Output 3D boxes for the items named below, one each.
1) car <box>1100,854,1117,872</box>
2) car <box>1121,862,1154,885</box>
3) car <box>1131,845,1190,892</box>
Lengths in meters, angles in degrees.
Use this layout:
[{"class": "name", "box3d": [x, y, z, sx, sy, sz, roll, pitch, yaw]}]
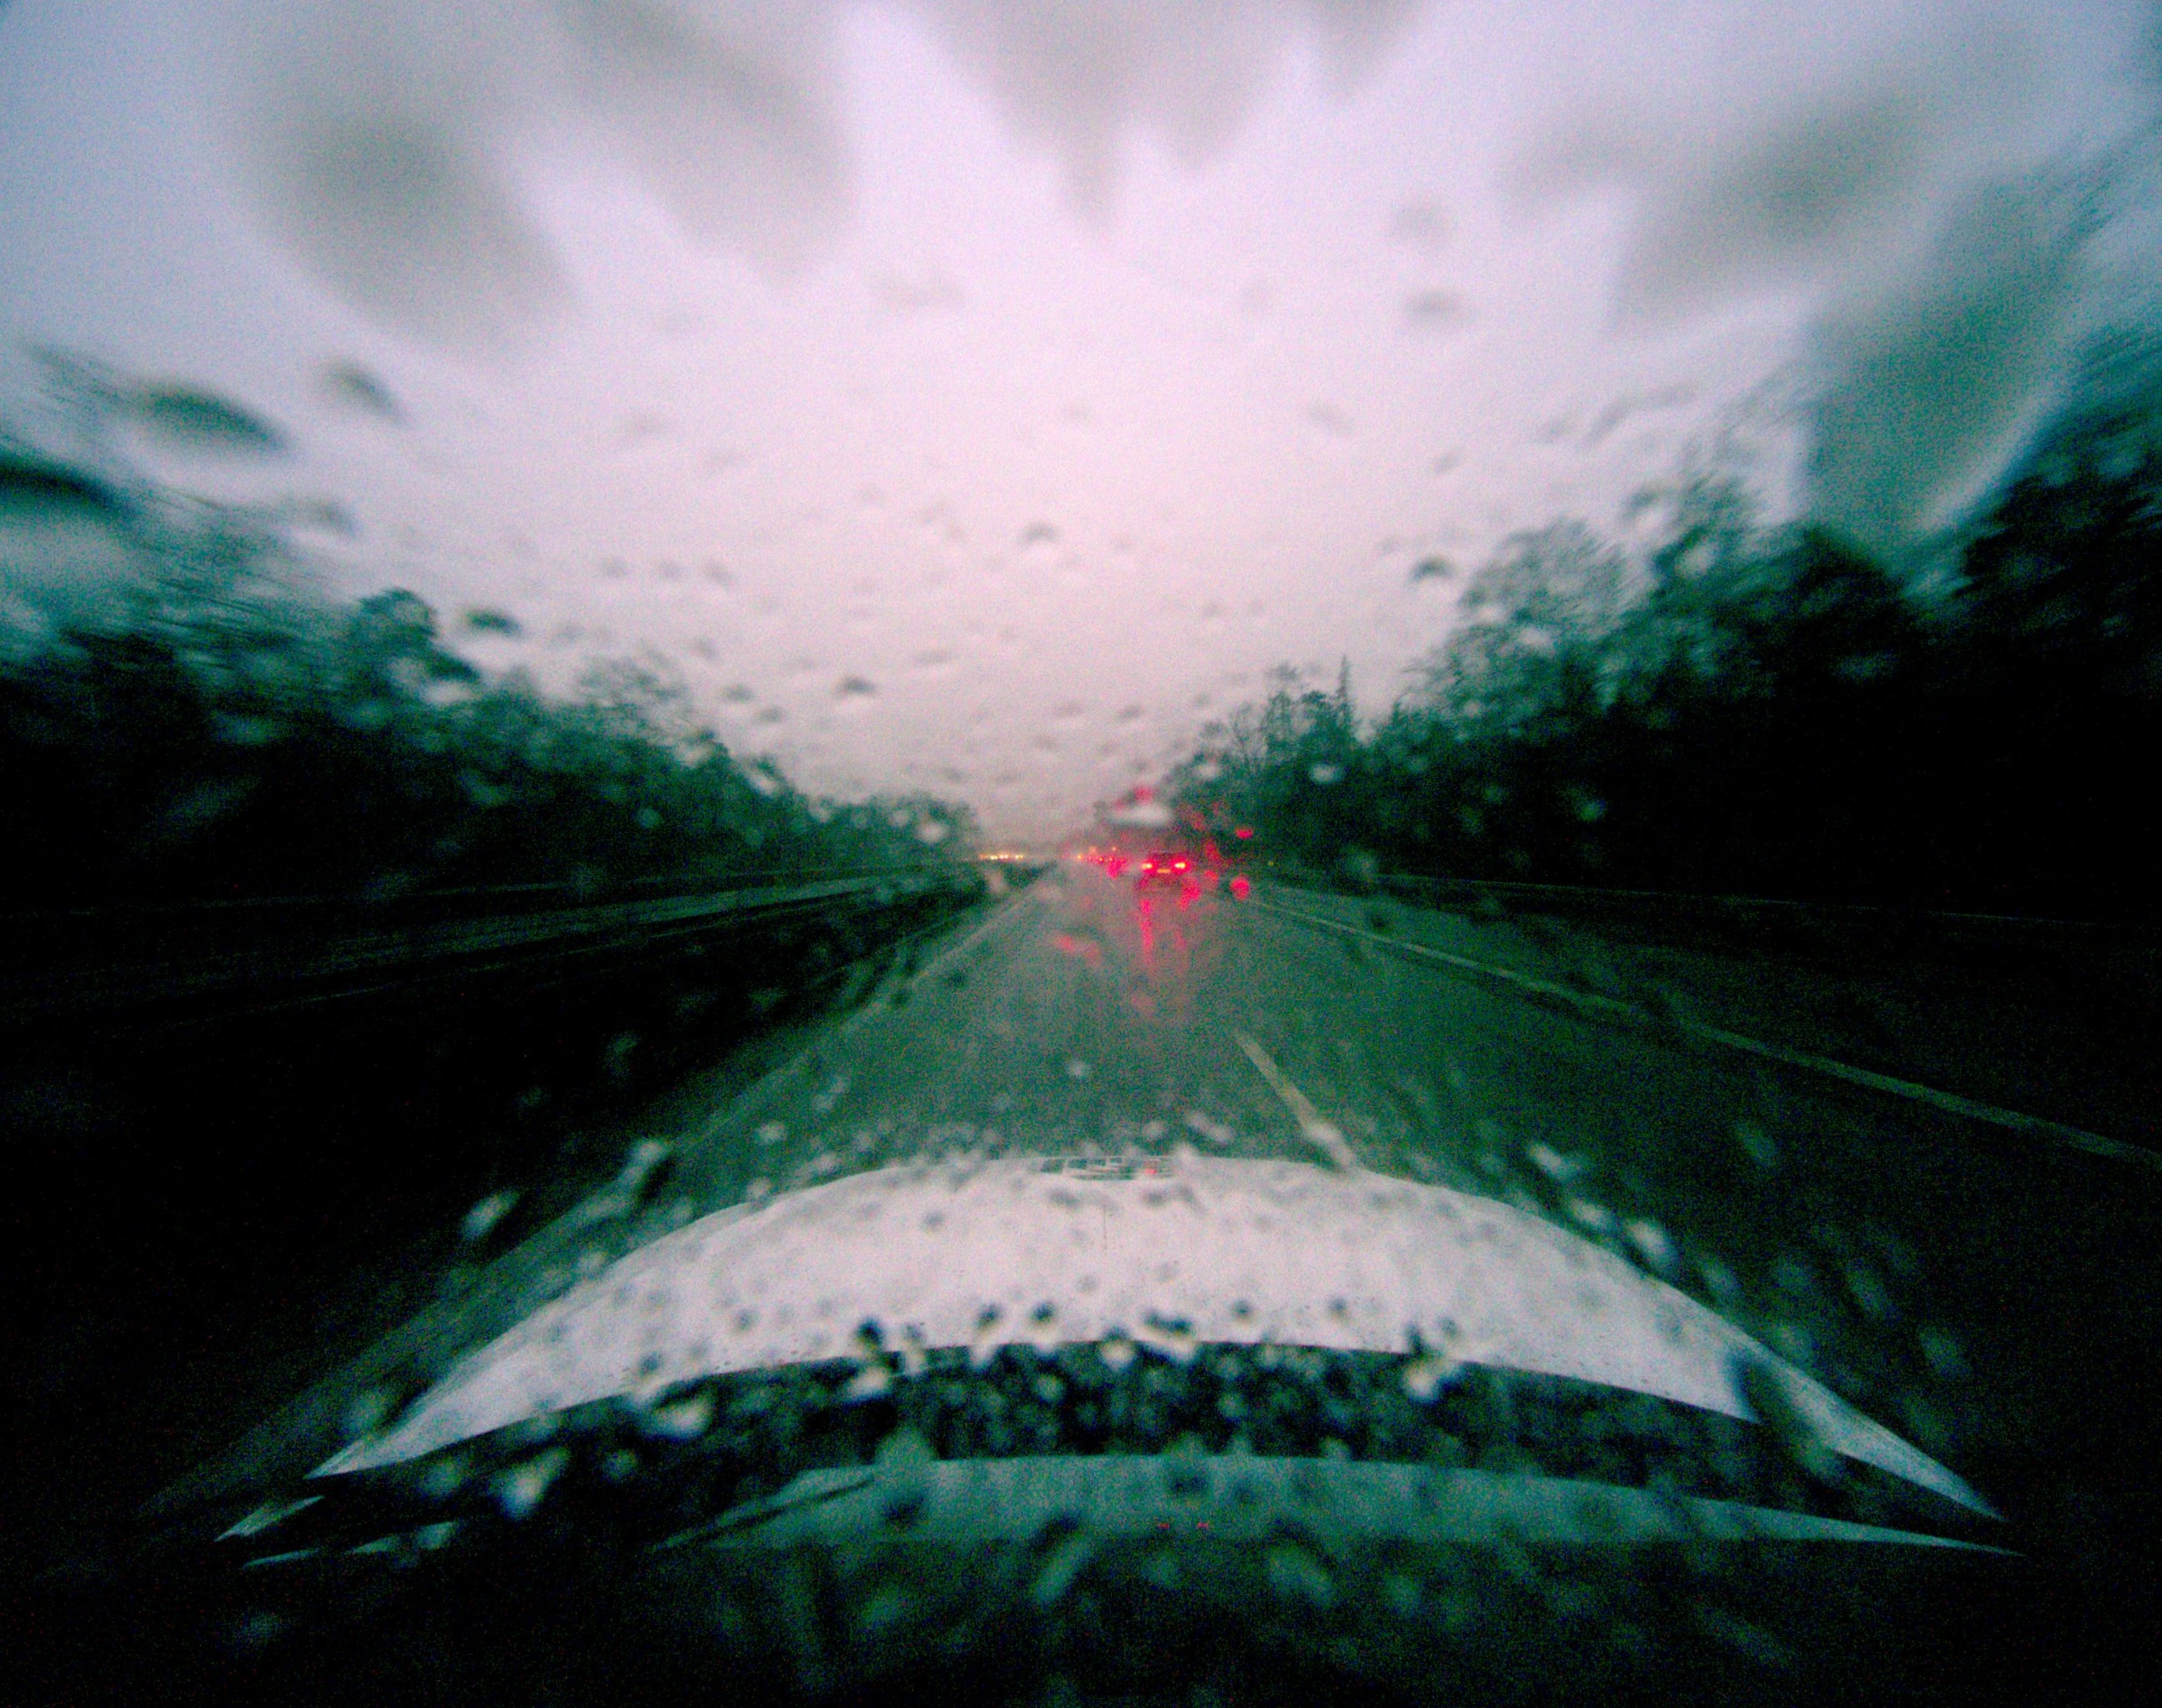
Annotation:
[{"class": "car", "box3d": [3.284, 1.057, 97.658, 1.987, 2.014, 4.000, -1, 0, 0]}, {"class": "car", "box3d": [3.698, 1.275, 54.057, 1.986, 1.420, 4.001, 1, -1, 1]}, {"class": "car", "box3d": [3.048, 0.532, 32.058, 1.985, 1.715, 3.830, -1, 0, 0]}]
